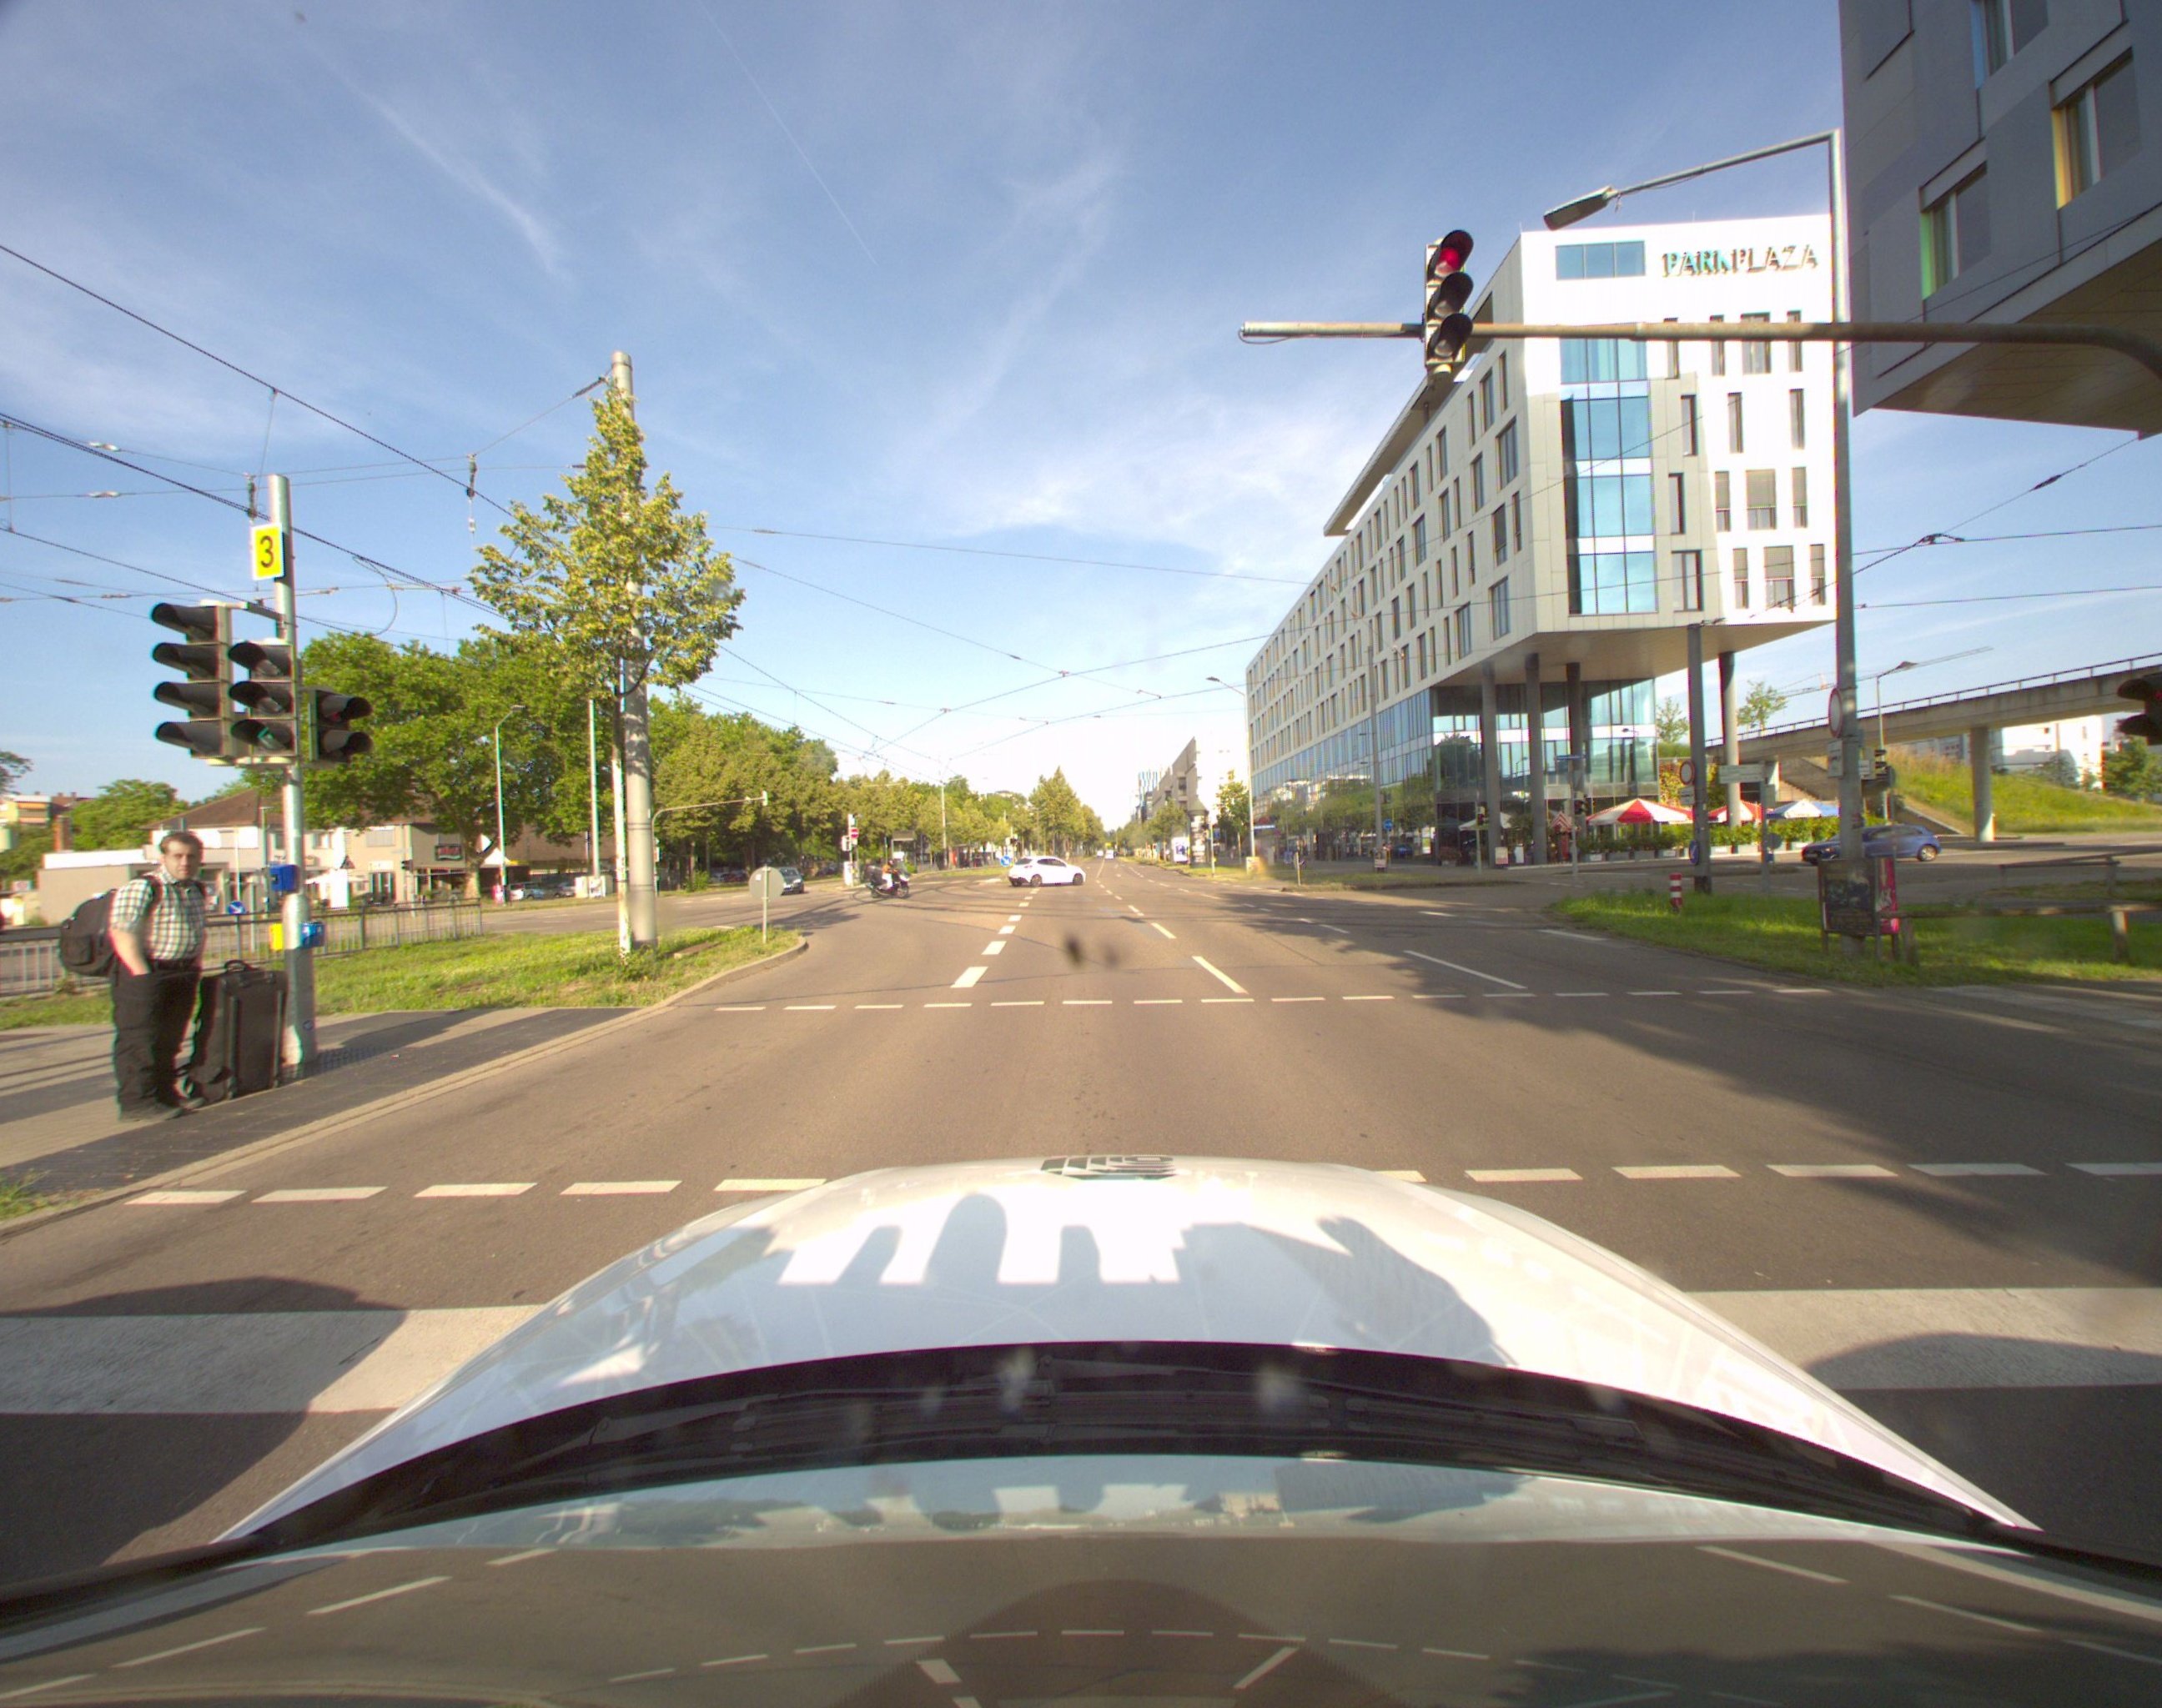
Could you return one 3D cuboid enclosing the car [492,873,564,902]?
[{"bbox_3d":[-38.225,2.292,56.449,1.871,1.750,4.008,-3,0,7],"label":"car"}]

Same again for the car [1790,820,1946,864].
[{"bbox_3d":[30.236,-0.460,31.377,4.170,1.424,1.859,-3,0,1],"label":"car"}]

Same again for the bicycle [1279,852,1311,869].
[{"bbox_3d":[13.871,0.401,52.803,0.778,1.032,1.856,-2,2,-42],"label":"bicycle"}]

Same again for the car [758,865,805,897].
[{"bbox_3d":[-15.588,1.359,42.220,1.738,1.461,4.534,-3,1,-27],"label":"car"}]

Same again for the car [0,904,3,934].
[{"bbox_3d":[-63.527,3.790,45.639,3.964,1.728,2.005,-2,0,8],"label":"car"}]

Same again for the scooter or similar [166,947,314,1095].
[{"bbox_3d":[-5.661,1.108,5.501,0.546,0.907,0.430,-1,0,2],"label":"scooter or similar"}]

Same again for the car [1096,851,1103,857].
[{"bbox_3d":[5.565,-0.088,245.882,2.007,1.684,4.003,0,1,2],"label":"car"}]

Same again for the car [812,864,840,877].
[{"bbox_3d":[-32.765,2.087,104.586,1.871,1.559,4.008,-3,0,7],"label":"car"}]

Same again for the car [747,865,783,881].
[{"bbox_3d":[-34.743,2.037,89.597,1.871,1.559,4.008,-3,0,7],"label":"car"}]

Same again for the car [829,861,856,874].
[{"bbox_3d":[-32.096,1.777,109.655,1.871,1.559,4.008,-3,0,7],"label":"car"}]

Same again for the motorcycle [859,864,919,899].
[{"bbox_3d":[-7.367,1.021,31.184,2.516,1.263,0.826,-1,0,38],"label":"motorcycle"}]

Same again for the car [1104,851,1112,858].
[{"bbox_3d":[6.627,0.221,201.625,1.857,1.684,4.003,0,1,2],"label":"car"}]

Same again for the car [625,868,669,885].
[{"bbox_3d":[-43.778,2.217,82.159,1.871,1.559,4.008,-3,0,7],"label":"car"}]

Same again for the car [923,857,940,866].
[{"bbox_3d":[-27.538,1.403,150.403,1.871,1.559,4.008,-3,0,7],"label":"car"}]

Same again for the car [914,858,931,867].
[{"bbox_3d":[-28.288,1.468,145.540,1.871,1.559,4.008,-3,0,7],"label":"car"}]

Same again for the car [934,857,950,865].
[{"bbox_3d":[-26.786,1.334,156.813,1.871,1.559,4.008,-3,0,7],"label":"car"}]

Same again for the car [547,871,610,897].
[{"bbox_3d":[-37.708,2.242,61.199,1.871,1.750,4.008,-3,0,7],"label":"car"}]

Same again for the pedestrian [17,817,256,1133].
[{"bbox_3d":[-5.709,0.689,4.960,0.697,1.792,0.636,-1,0,2],"label":"pedestrian"}]

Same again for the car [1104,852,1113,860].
[{"bbox_3d":[5.684,0.396,169.173,1.857,1.684,4.003,0,1,2],"label":"car"}]

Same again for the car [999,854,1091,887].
[{"bbox_3d":[-1.729,0.775,39.716,4.114,1.504,1.976,0,0,-40],"label":"car"}]

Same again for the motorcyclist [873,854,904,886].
[{"bbox_3d":[-7.388,0.610,31.241,0.836,1.202,0.790,0,0,38],"label":"motorcyclist"}]

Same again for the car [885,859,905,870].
[{"bbox_3d":[-29.698,1.646,130.016,1.871,1.559,4.008,-3,0,7],"label":"car"}]

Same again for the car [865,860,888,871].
[{"bbox_3d":[-30.663,1.733,122.111,1.871,1.559,4.008,-3,0,7],"label":"car"}]

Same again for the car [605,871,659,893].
[{"bbox_3d":[-37.018,2.273,67.242,1.871,1.559,4.008,-3,0,7],"label":"car"}]
